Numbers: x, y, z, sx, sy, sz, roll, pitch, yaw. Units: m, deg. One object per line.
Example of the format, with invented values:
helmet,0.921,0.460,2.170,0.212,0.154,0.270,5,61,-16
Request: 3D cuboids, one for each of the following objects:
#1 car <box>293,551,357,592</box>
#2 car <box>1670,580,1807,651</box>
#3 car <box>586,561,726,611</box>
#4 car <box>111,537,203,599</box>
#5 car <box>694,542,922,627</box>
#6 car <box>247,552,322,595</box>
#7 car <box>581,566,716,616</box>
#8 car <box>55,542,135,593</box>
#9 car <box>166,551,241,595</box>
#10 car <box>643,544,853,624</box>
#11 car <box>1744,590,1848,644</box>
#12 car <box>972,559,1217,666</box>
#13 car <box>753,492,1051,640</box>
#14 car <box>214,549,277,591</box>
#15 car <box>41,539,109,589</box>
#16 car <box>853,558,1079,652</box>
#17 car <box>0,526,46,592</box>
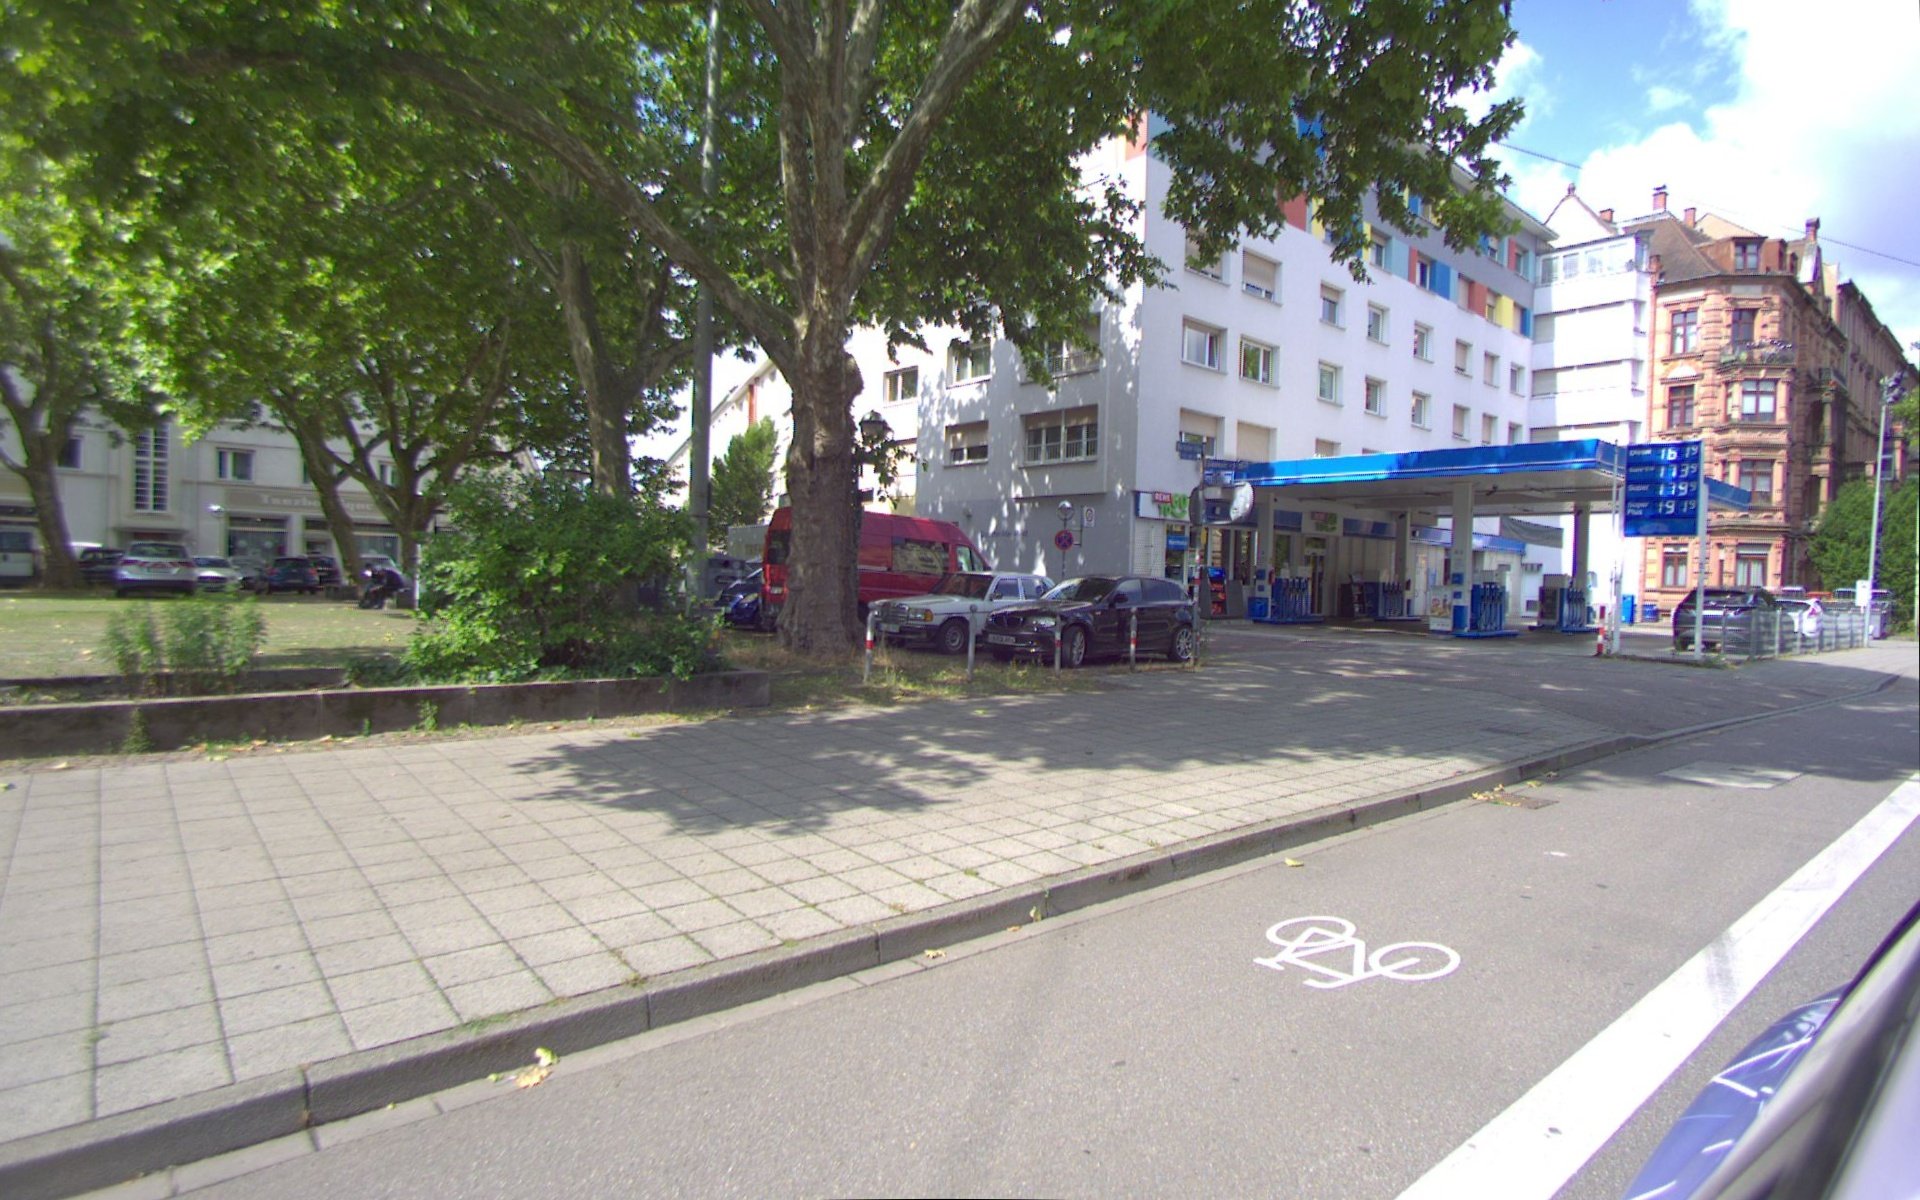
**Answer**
car,-30.322,-1.379,48.268,2.151,1.827,4.695,1,2,-38
car,19.773,0.356,25.645,4.501,1.622,1.810,1,1,-40
car,-8.813,-0.377,29.452,3.581,1.380,1.582,1,0,-43
car,-23.314,-0.938,29.350,1.964,1.656,4.161,1,2,-40
car,-3.266,-0.304,22.266,4.568,1.672,2.011,1,0,-39
car,-25.947,-1.046,38.834,1.964,1.543,4.161,0,2,-40
car,-9.509,-0.266,31.036,3.581,1.433,1.647,1,0,-43
car,-29.443,-1.117,34.525,1.964,1.614,4.264,1,2,-40
car,-26.970,-0.984,36.029,1.924,1.439,4.174,0,2,-40
car,-5.072,-0.351,24.561,4.568,1.776,2.011,1,0,-39
car,25.094,0.478,30.337,3.932,1.473,1.809,1,1,-41
car,2.219,0.165,16.093,3.973,1.488,1.651,1,2,-42
car,-1.029,-0.621,20.593,5.911,2.614,2.117,1,1,-39
car,-32.953,-1.399,46.614,2.151,1.827,4.757,1,2,-38
car,-37.327,-1.533,42.781,2.001,1.953,4.692,1,2,-40
car,0.201,0.063,17.906,3.976,1.447,1.650,0,2,-44
car,-31.379,-1.372,33.070,2.040,2.038,4.264,1,2,-40
